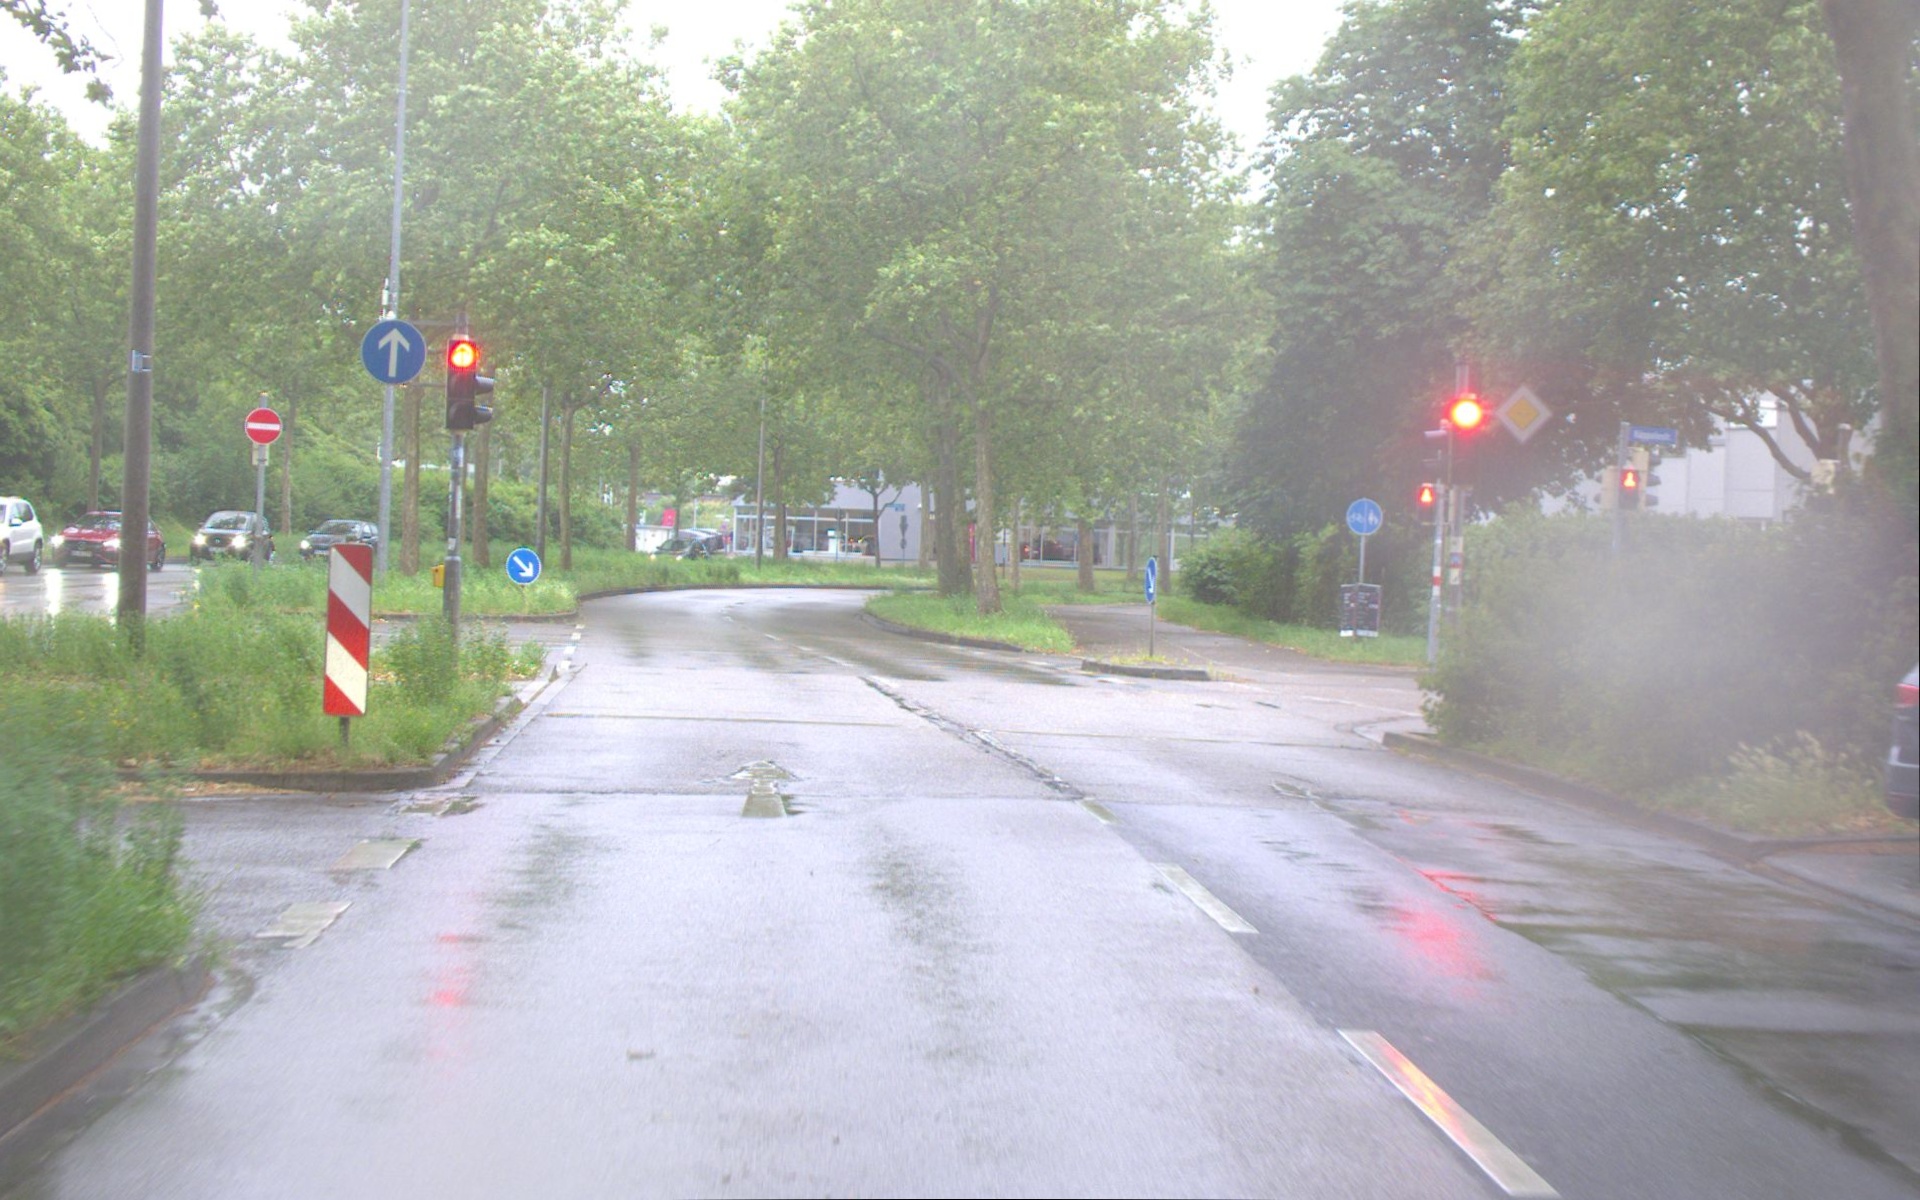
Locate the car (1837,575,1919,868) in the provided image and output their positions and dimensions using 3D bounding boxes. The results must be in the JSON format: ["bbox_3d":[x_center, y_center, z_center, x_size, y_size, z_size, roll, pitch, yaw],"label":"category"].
[{"bbox_3d":[6.942,0.672,17.919,4.480,1.454,1.749,1,1,-26],"label":"car"}]

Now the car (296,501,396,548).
[{"bbox_3d":[-18.752,-2.297,105.133,1.588,1.368,4.260,2,1,10],"label":"car"}]

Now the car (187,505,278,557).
[{"bbox_3d":[-20.285,-1.924,95.934,1.587,1.368,3.333,2,1,4],"label":"car"}]

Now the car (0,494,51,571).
[{"bbox_3d":[-21.245,-1.506,75.136,1.743,1.626,4.445,2,1,-3],"label":"car"}]

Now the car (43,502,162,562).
[{"bbox_3d":[-21.193,-1.674,85.128,1.743,1.403,4.444,2,1,1],"label":"car"}]

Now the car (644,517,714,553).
[{"bbox_3d":[-17.189,-3.952,210.180,3.986,2.007,2.001,2,0,-13],"label":"car"}]
